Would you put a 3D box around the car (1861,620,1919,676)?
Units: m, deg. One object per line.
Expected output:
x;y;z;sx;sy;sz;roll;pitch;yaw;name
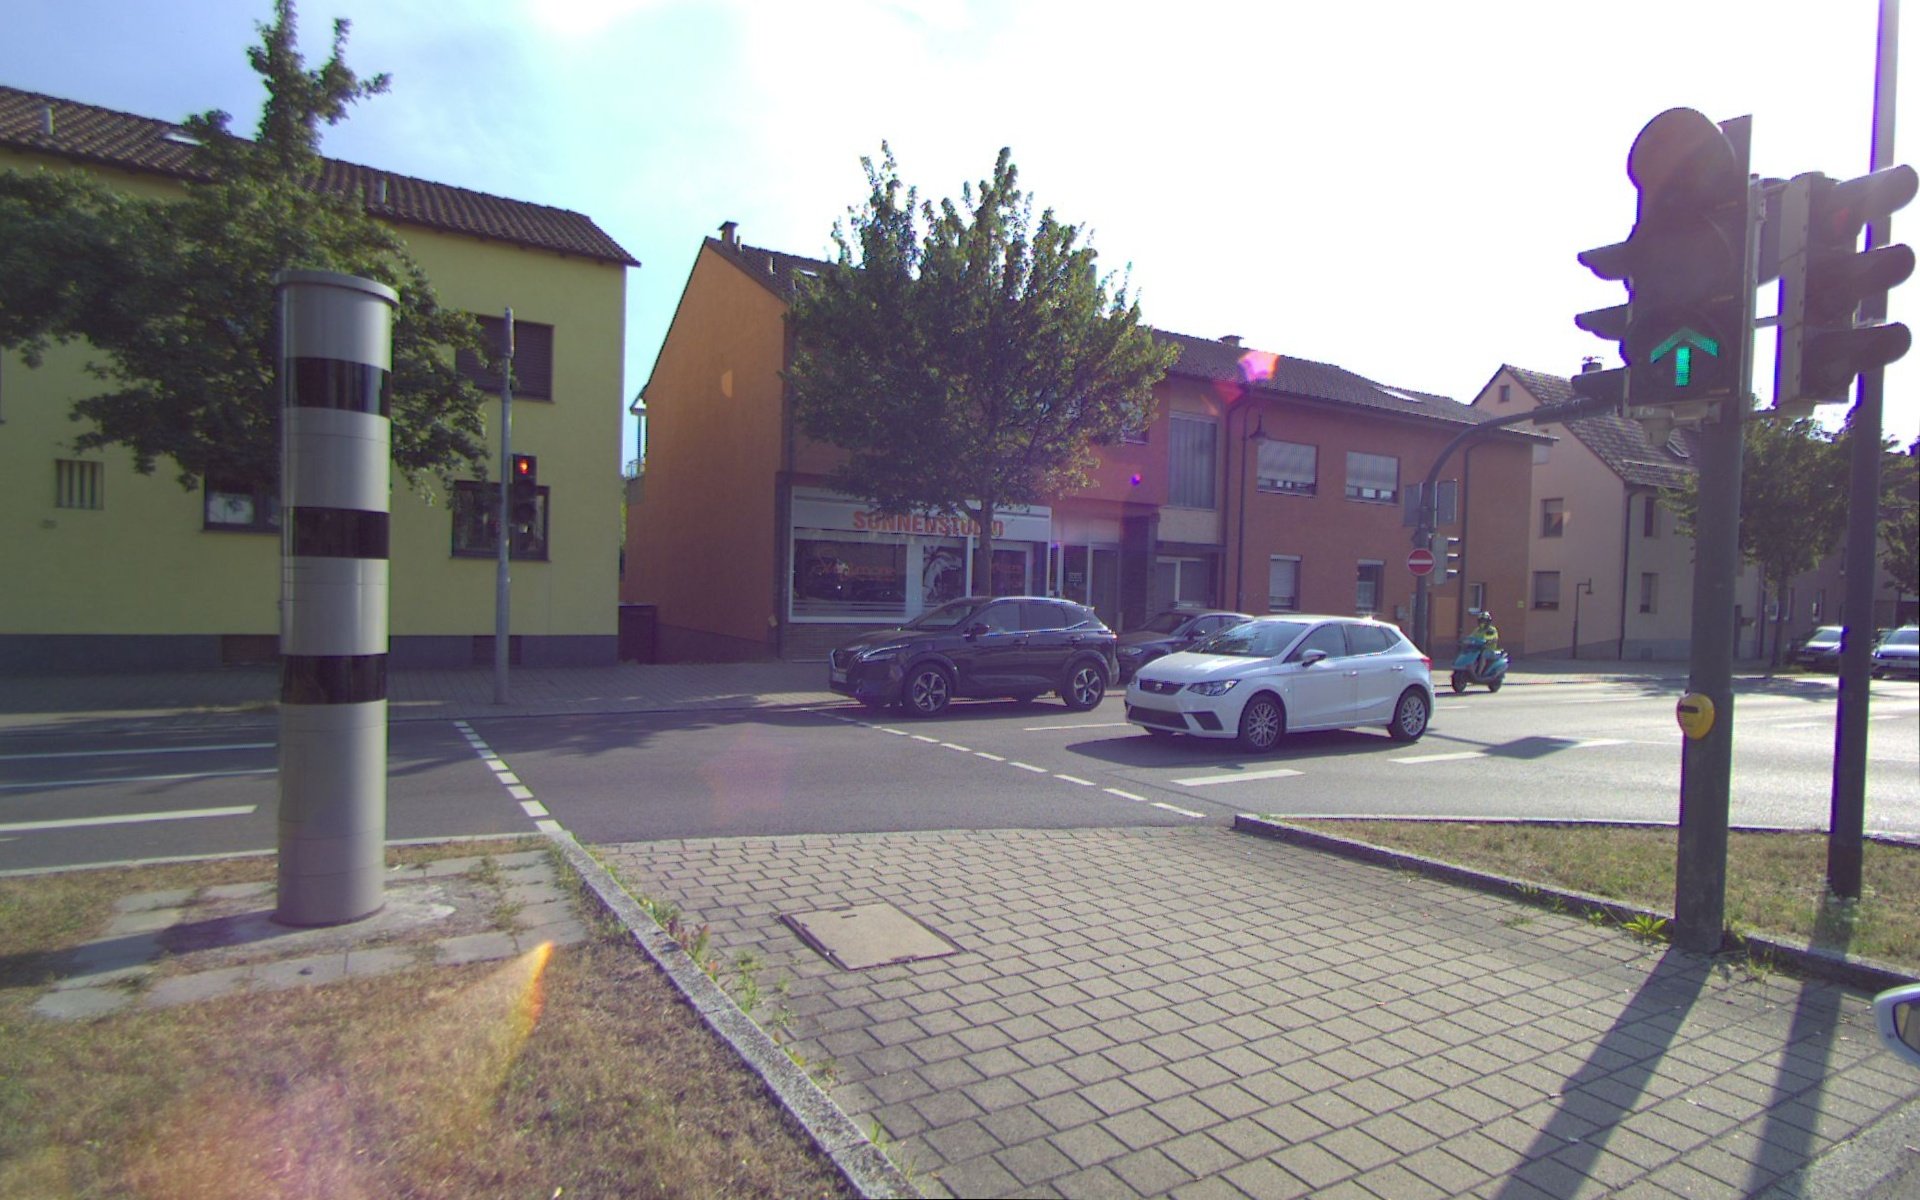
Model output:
30.116;1.486;31.422;4.362;1.633;1.677;1;0;-31;car

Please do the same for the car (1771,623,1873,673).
29.418;1.590;34.264;3.842;1.531;1.504;1;2;-32;car

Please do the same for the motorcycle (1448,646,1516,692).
10.675;1.396;20.531;1.744;0.872;0.410;1;0;-33;motorcycle

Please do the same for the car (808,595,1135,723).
0.210;0.769;14.542;4.405;1.617;1.847;1;0;-29;car

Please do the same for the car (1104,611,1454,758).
3.776;0.876;11.735;3.955;1.430;1.748;1;0;-31;car

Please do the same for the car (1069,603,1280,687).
4.305;0.854;20.075;3.894;1.433;1.787;1;3;-30;car

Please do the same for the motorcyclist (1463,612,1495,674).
10.572;0.862;20.459;0.456;1.245;0.401;1;0;-32;motorcyclist
